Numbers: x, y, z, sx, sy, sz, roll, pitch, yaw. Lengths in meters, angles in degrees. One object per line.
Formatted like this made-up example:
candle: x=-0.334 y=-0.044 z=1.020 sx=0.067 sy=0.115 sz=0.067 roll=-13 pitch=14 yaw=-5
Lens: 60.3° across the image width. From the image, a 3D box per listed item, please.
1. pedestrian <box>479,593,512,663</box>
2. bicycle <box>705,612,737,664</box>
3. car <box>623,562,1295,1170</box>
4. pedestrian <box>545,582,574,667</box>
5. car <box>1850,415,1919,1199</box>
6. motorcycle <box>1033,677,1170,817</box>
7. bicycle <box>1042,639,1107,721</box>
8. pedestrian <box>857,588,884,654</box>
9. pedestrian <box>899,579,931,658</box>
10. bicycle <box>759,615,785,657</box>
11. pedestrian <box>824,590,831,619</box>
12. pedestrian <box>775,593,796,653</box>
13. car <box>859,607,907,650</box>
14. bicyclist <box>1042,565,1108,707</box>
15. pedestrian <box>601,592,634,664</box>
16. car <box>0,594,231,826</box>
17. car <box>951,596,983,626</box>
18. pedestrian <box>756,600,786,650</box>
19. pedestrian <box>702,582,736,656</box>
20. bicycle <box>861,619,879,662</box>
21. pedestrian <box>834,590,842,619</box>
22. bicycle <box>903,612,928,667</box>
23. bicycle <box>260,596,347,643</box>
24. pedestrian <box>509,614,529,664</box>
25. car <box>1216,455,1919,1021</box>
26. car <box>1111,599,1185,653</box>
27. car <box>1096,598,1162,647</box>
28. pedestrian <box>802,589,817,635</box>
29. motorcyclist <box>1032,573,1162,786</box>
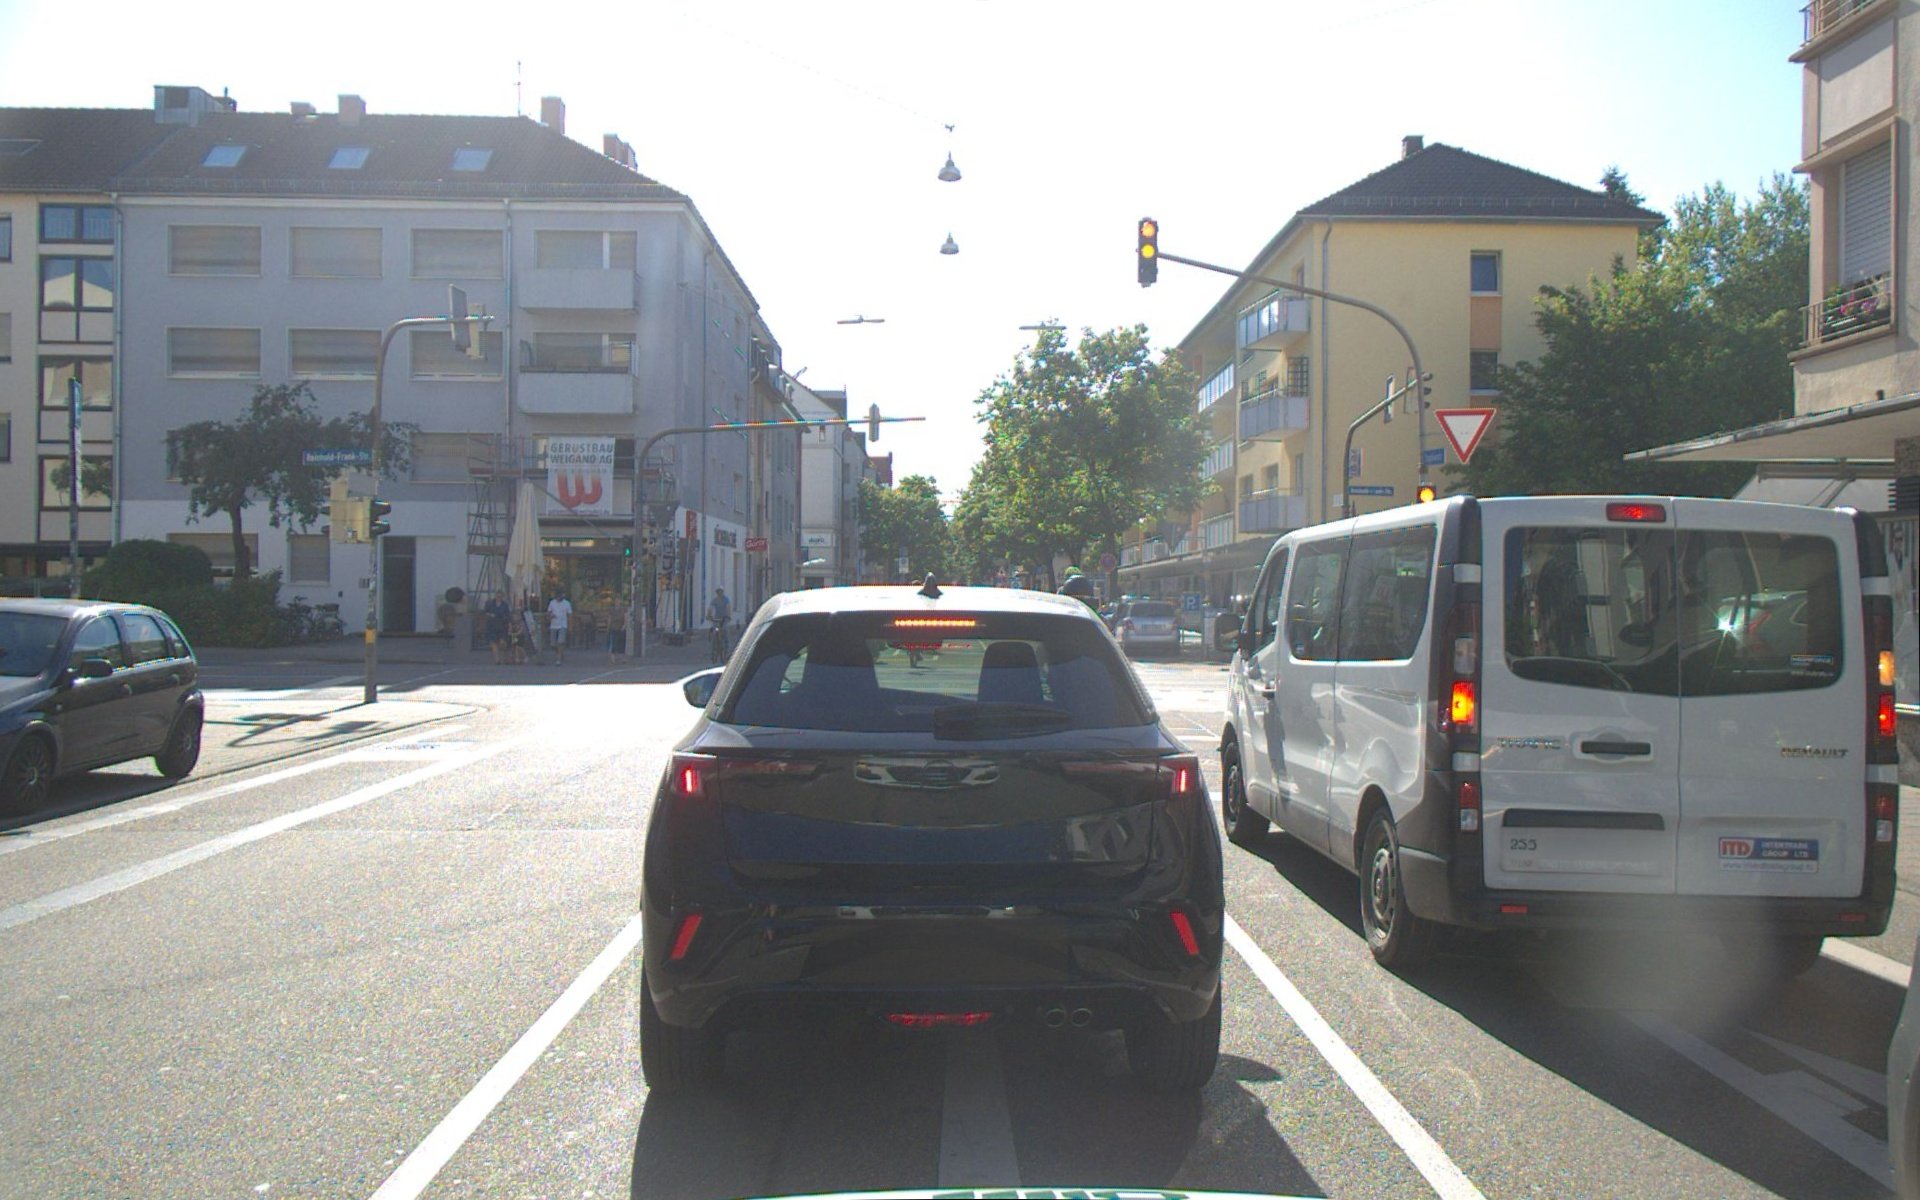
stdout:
pedestrian: x=-10.321 y=0.617 z=36.772 sx=0.573 sy=1.547 sz=0.649 roll=0 pitch=0 yaw=-4
bicycle: x=-5.641 y=0.874 z=39.078 sx=0.511 sy=1.167 sz=2.282 roll=0 pitch=0 yaw=-3
car: x=-0.081 y=0.676 z=6.281 sx=1.735 sy=1.557 sz=3.998 roll=0 pitch=0 yaw=-3
pedestrian: x=-8.656 y=0.527 z=35.741 sx=0.550 sy=1.806 sz=0.582 roll=1 pitch=0 yaw=-9
car: x=3.008 y=0.579 z=1.247 sx=1.799 sy=1.901 sz=4.993 roll=0 pitch=0 yaw=-3
motorcycle: x=1.007 y=1.051 z=12.234 sx=0.808 sy=0.860 sz=1.884 roll=0 pitch=0 yaw=-1
bicycle: x=1.443 y=0.996 z=21.145 sx=0.565 sy=0.920 sz=2.300 roll=0 pitch=0 yaw=-3
pedestrian: x=-2.242 y=0.512 z=41.530 sx=0.666 sy=1.634 sz=0.762 roll=0 pitch=0 yaw=-3
pedestrian: x=-1.010 y=0.410 z=37.133 sx=0.692 sy=1.731 sz=0.802 roll=0 pitch=0 yaw=-3
bicycle: x=-4.815 y=0.916 z=42.437 sx=0.511 sy=1.010 sz=2.338 roll=0 pitch=0 yaw=-3
pedestrian: x=-7.856 y=0.246 z=97.900 sx=0.394 sy=1.704 sz=0.417 roll=0 pitch=0 yaw=-1
pedestrian: x=-5.100 y=0.666 z=48.402 sx=0.558 sy=1.719 sz=0.588 roll=0 pitch=0 yaw=-1
car: x=-3.273 y=1.198 z=70.678 sx=1.787 sy=1.758 sz=4.000 roll=0 pitch=0 yaw=1
bicyclist: x=1.450 y=0.440 z=21.098 sx=0.675 sy=1.742 sz=1.413 roll=0 pitch=0 yaw=-3
pedestrian: x=-7.467 y=0.600 z=36.047 sx=0.605 sy=1.547 sz=0.724 roll=0 pitch=0 yaw=-4
car: x=-7.084 y=0.714 z=12.424 sx=1.584 sy=1.450 sz=3.709 roll=3 pitch=0 yaw=-1
car: x=0.420 y=0.634 z=98.152 sx=1.863 sy=1.758 sz=4.073 roll=0 pitch=0 yaw=0
pedestrian: x=-4.828 y=0.634 z=42.353 sx=0.692 sy=1.275 sz=0.802 roll=0 pitch=0 yaw=-3
pedestrian: x=-5.631 y=0.438 z=38.645 sx=0.692 sy=1.707 sz=0.802 roll=0 pitch=0 yaw=-3
bicycle: x=-2.267 y=1.002 z=41.632 sx=0.434 sy=1.010 sz=2.068 roll=0 pitch=0 yaw=-3
pedestrian: x=-7.213 y=0.266 z=97.766 sx=0.394 sy=1.704 sz=0.417 roll=0 pitch=0 yaw=-1
bicycle: x=-1.013 y=0.865 z=37.164 sx=0.511 sy=1.167 sz=2.169 roll=0 pitch=0 yaw=-3
bicycle: x=-16.893 y=0.486 z=42.557 sx=2.067 sy=1.193 sz=0.735 roll=0 pitch=0 yaw=-25
pedestrian: x=-9.828 y=0.861 z=36.863 sx=0.348 sy=1.111 sz=0.461 roll=0 pitch=0 yaw=-4
car: x=2.746 y=0.505 z=8.538 sx=1.953 sy=2.013 sz=4.894 roll=2 pitch=0 yaw=-1
car: x=5.335 y=0.724 z=47.325 sx=1.601 sy=1.458 sz=3.956 roll=0 pitch=0 yaw=-1
car: x=5.280 y=0.683 z=52.004 sx=1.601 sy=1.458 sz=3.999 roll=0 pitch=0 yaw=-1
pedestrian: x=-5.616 y=0.439 z=61.675 sx=0.478 sy=1.719 sz=0.588 roll=0 pitch=0 yaw=-1
motorcyclist: x=1.009 y=0.569 z=12.443 sx=0.846 sy=1.528 sz=1.159 roll=0 pitch=0 yaw=-2
